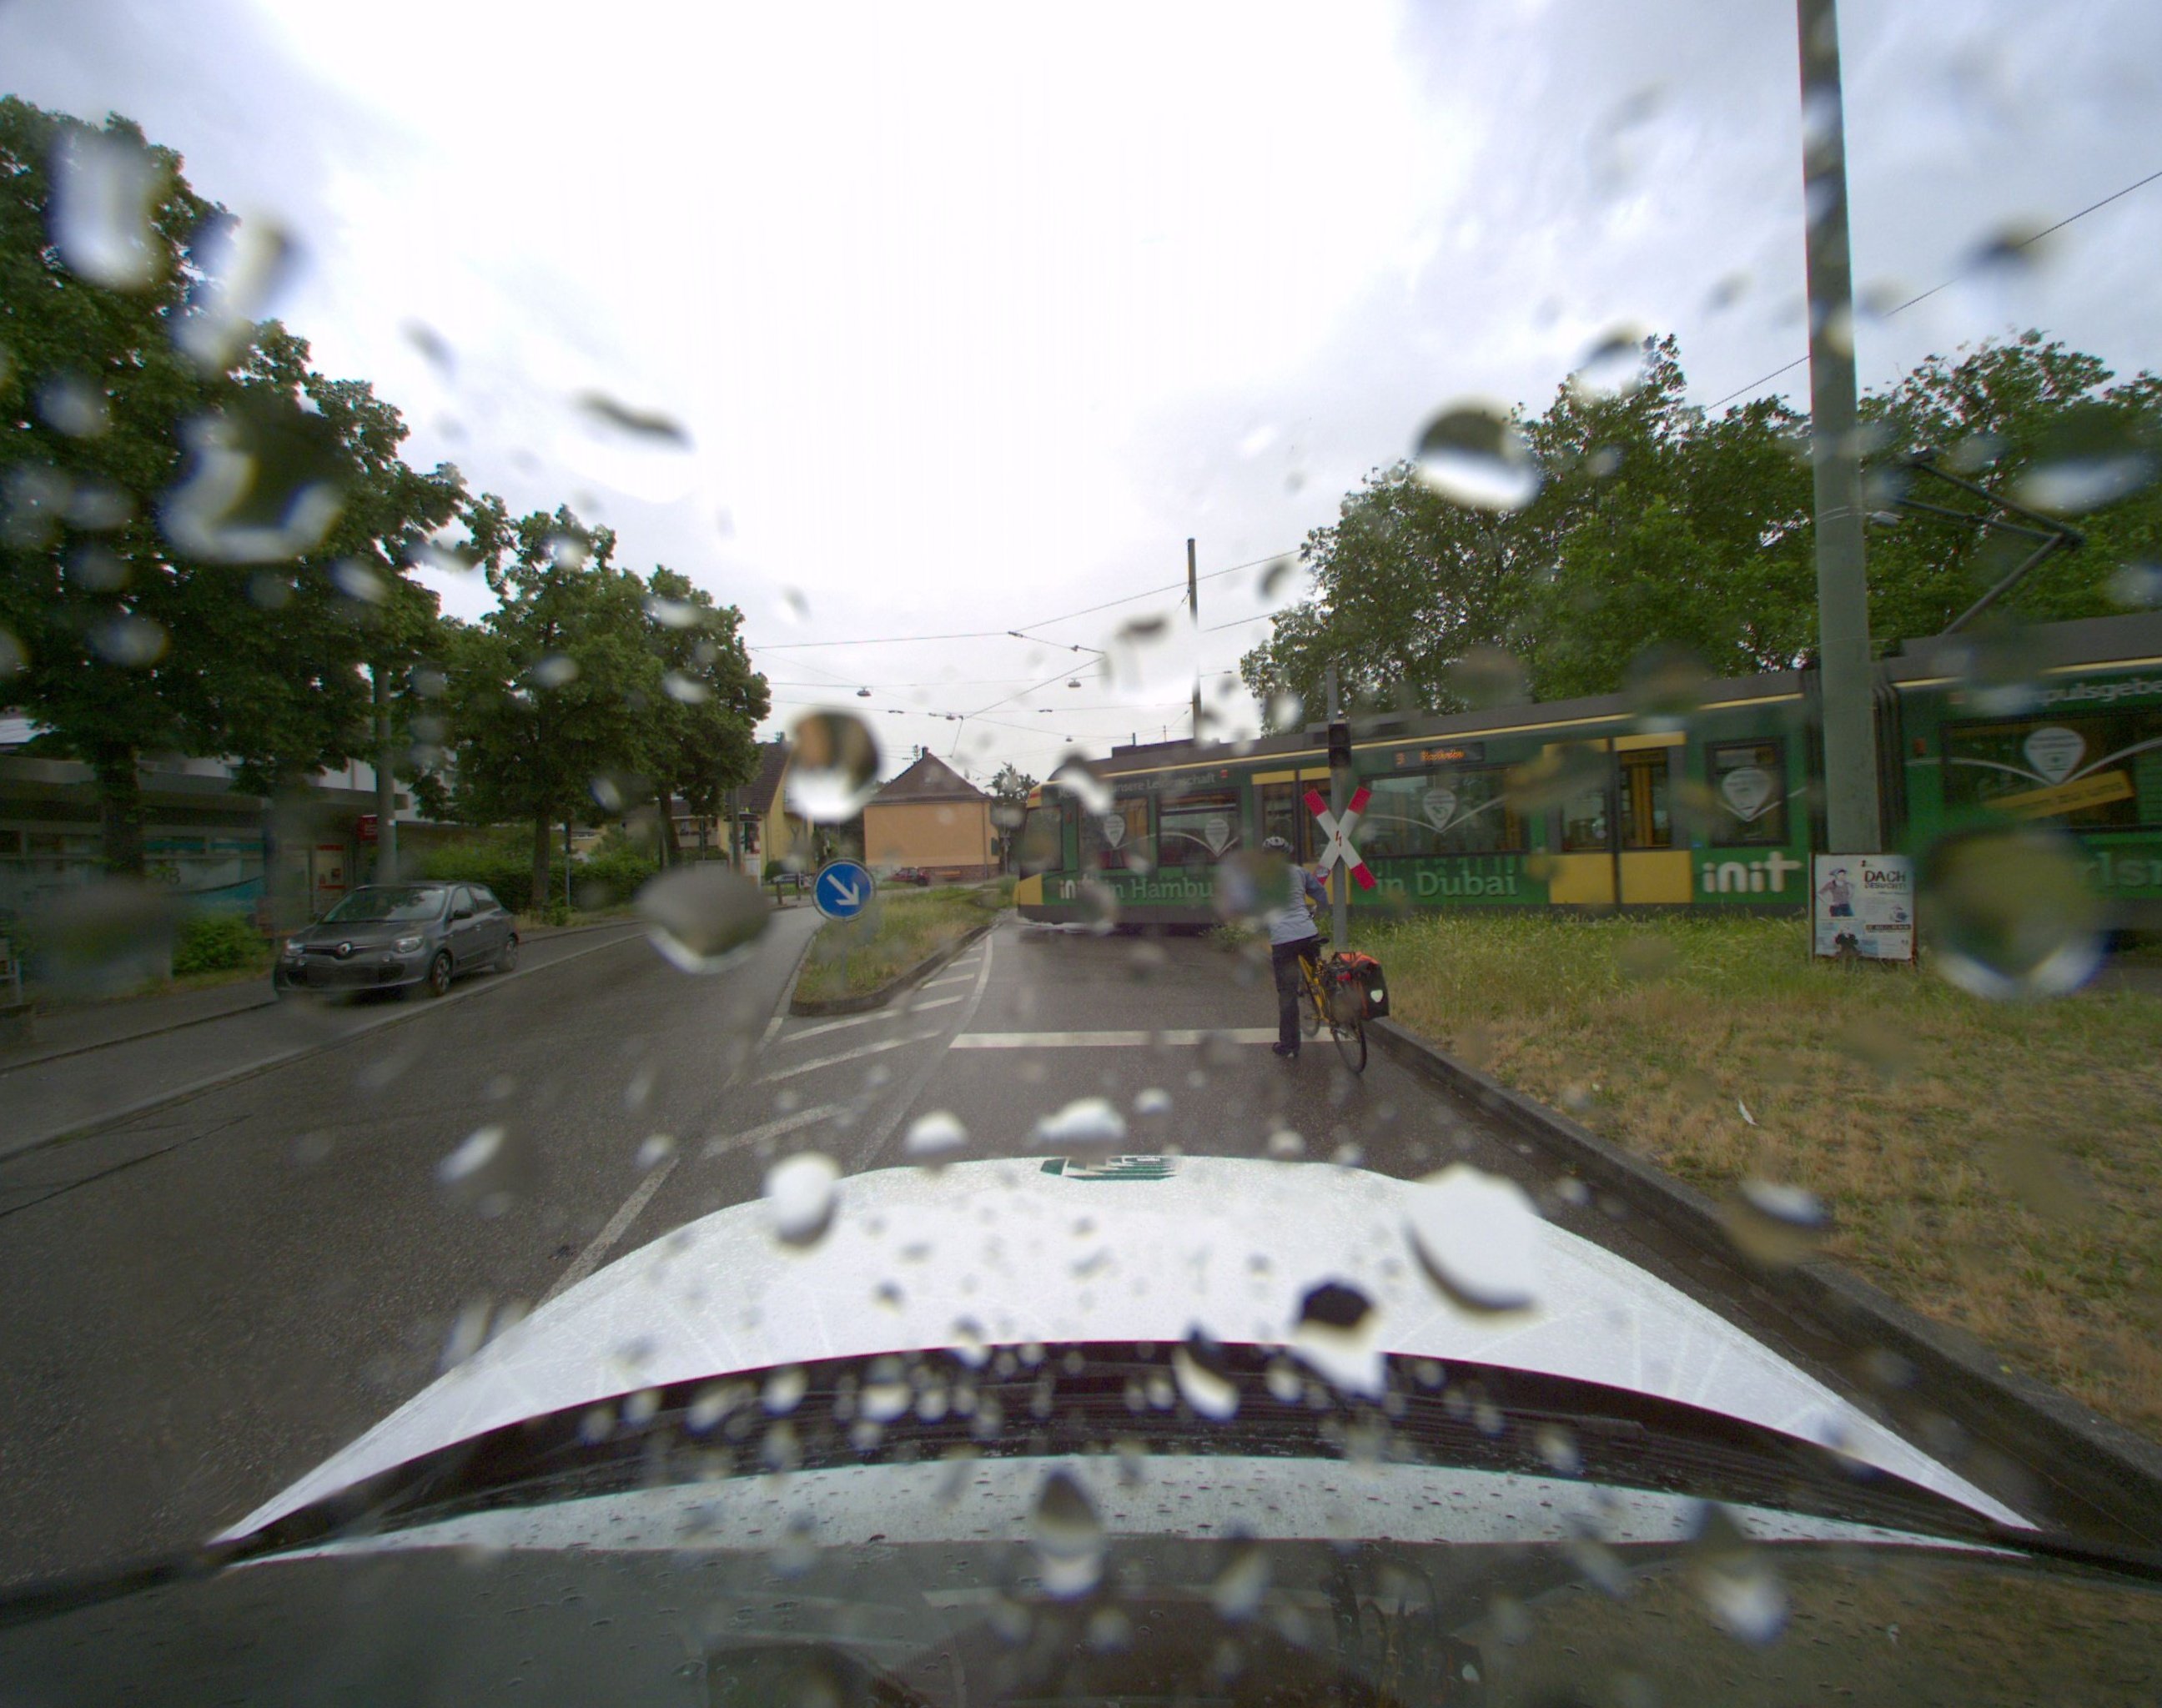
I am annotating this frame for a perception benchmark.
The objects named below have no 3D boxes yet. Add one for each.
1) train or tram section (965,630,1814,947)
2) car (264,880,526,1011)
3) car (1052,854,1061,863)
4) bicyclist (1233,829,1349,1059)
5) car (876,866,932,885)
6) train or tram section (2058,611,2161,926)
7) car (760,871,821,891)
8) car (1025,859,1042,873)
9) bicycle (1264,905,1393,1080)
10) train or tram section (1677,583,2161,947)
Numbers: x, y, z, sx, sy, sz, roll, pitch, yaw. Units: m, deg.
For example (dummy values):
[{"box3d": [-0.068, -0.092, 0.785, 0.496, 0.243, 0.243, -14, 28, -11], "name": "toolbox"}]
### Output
[{"box3d": [3.718, -0.472, 14.087, 12.961, 3.553, 2.787, -3, -1, 36], "name": "train or tram section"}, {"box3d": [-9.690, 1.176, 11.887, 1.621, 1.496, 3.645, 0, -1, -18], "name": "car"}, {"box3d": [-4.916, 0.897, 165.009, 1.799, 1.811, 3.999, 0, -1, 0], "name": "car"}, {"box3d": [1.570, 0.639, 6.210, 0.665, 1.626, 0.853, 0, -1, 1], "name": "bicyclist"}, {"box3d": [-13.652, 1.646, 63.082, 3.979, 1.456, 1.831, 0, -1, -5], "name": "car"}, {"box3d": [18.176, -1.227, 8.174, 12.100, 3.553, 2.775, -3, 0, 6], "name": "train or tram section"}, {"box3d": [-22.098, 2.025, 62.037, 3.979, 1.456, 1.831, 0, -1, -5], "name": "car"}, {"box3d": [-5.595, 1.384, 96.030, 1.799, 1.651, 3.999, 0, -1, 0], "name": "car"}, {"box3d": [1.799, 0.951, 6.147, 0.444, 1.004, 1.728, -2, 0, 1], "name": "bicycle"}, {"box3d": [10.494, -0.863, 9.620, 4.927, 3.553, 2.785, -4, -1, 24], "name": "train or tram section"}]
